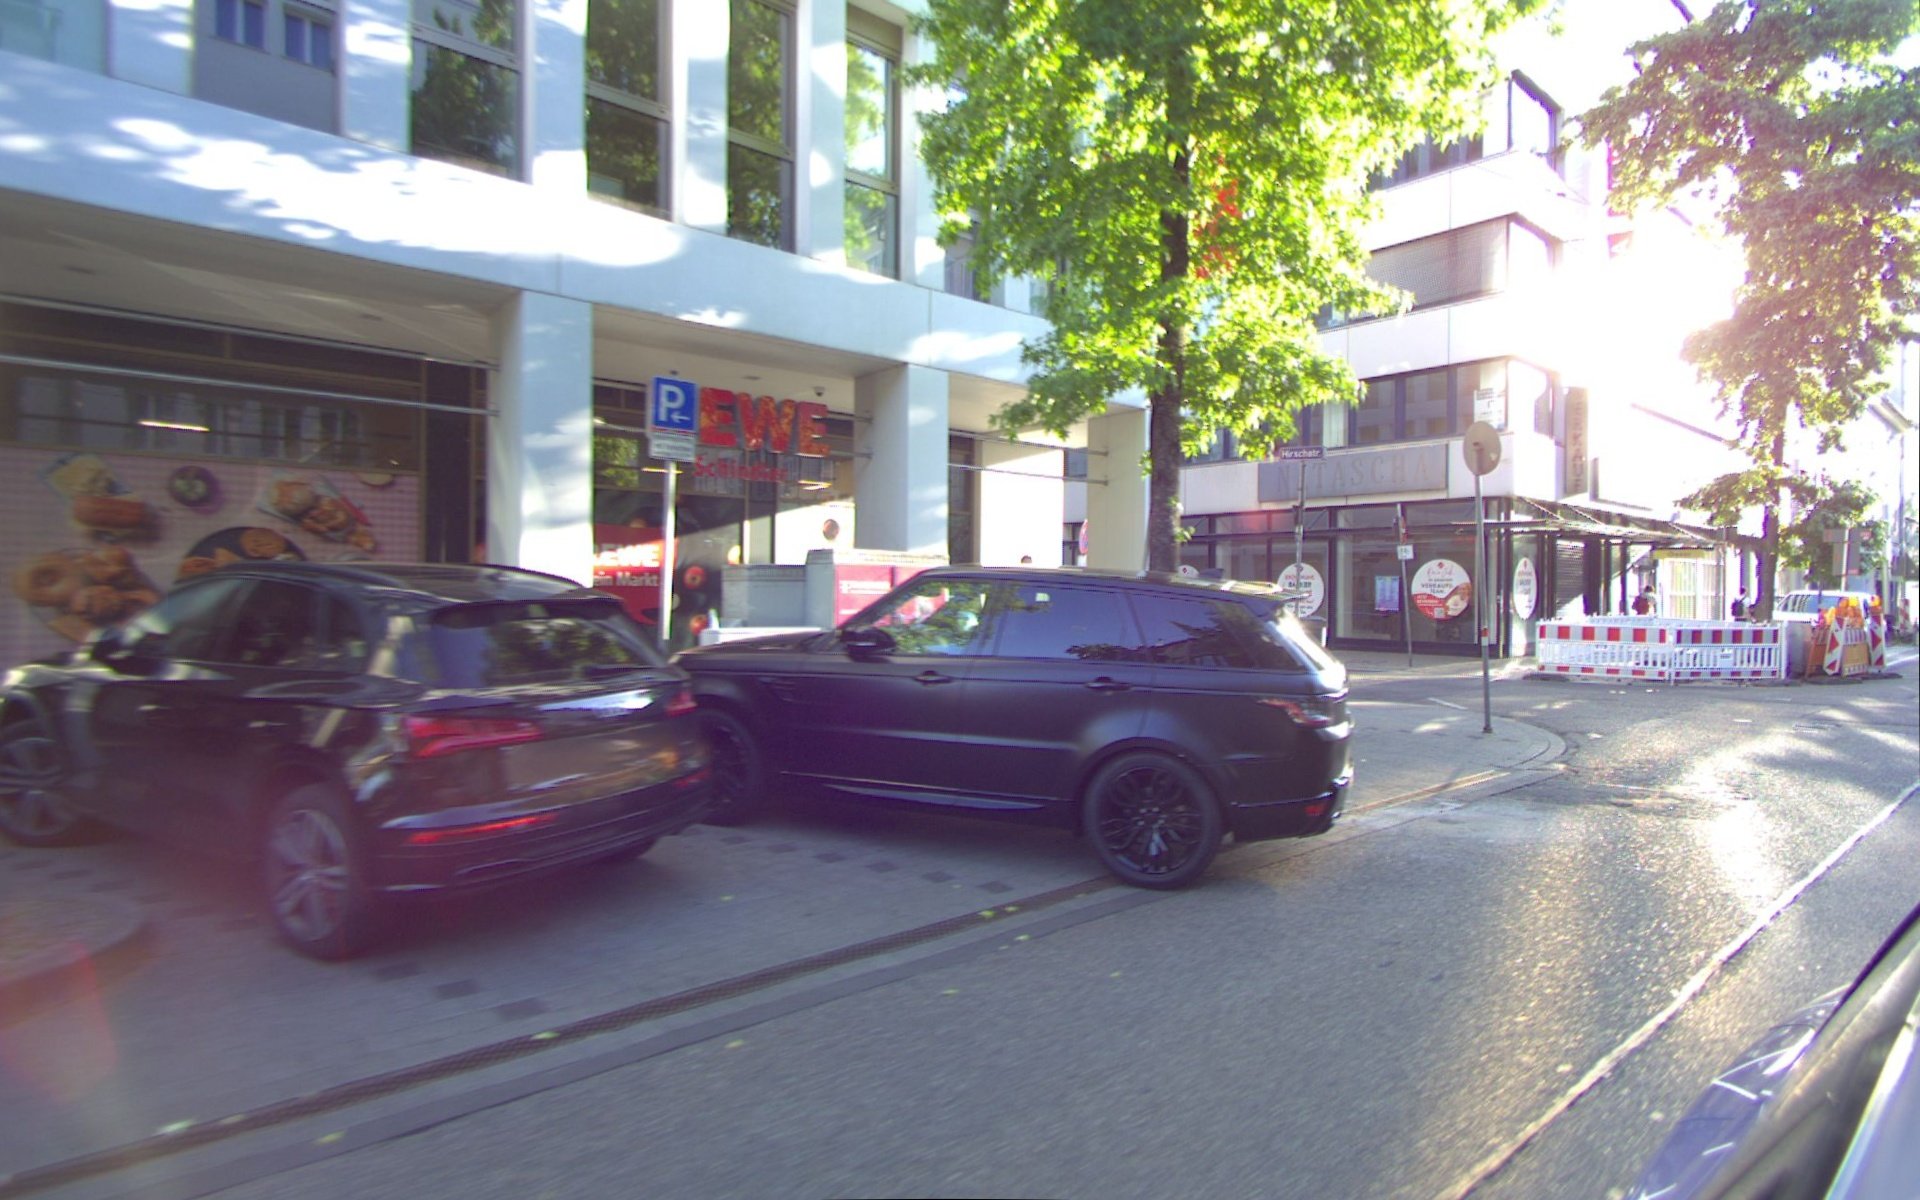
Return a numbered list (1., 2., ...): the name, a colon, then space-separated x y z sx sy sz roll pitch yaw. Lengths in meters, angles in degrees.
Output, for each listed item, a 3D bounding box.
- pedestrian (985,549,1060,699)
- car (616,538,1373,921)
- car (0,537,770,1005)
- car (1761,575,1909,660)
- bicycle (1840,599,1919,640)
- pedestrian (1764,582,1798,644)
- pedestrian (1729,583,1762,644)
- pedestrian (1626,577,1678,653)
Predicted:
1. pedestrian: 0.780 0.281 12.813 0.786 1.840 0.758 1 3 -7
2. car: 0.215 0.566 6.806 4.612 1.785 1.981 3 3 21
3. car: -3.559 0.551 5.722 4.622 1.675 1.990 3 2 27
4. car: 20.987 0.349 24.197 4.823 1.758 2.027 0 3 -42
5. bicycle: 29.155 0.597 32.009 0.824 1.148 1.820 -1 3 -32
6. pedestrian: 24.907 0.392 30.700 0.623 1.853 0.706 0 0 -40
7. pedestrian: 24.231 0.407 31.202 0.623 1.853 0.689 0 0 -40
8. pedestrian: 18.157 0.379 26.558 0.901 1.921 0.836 0 1 -38
